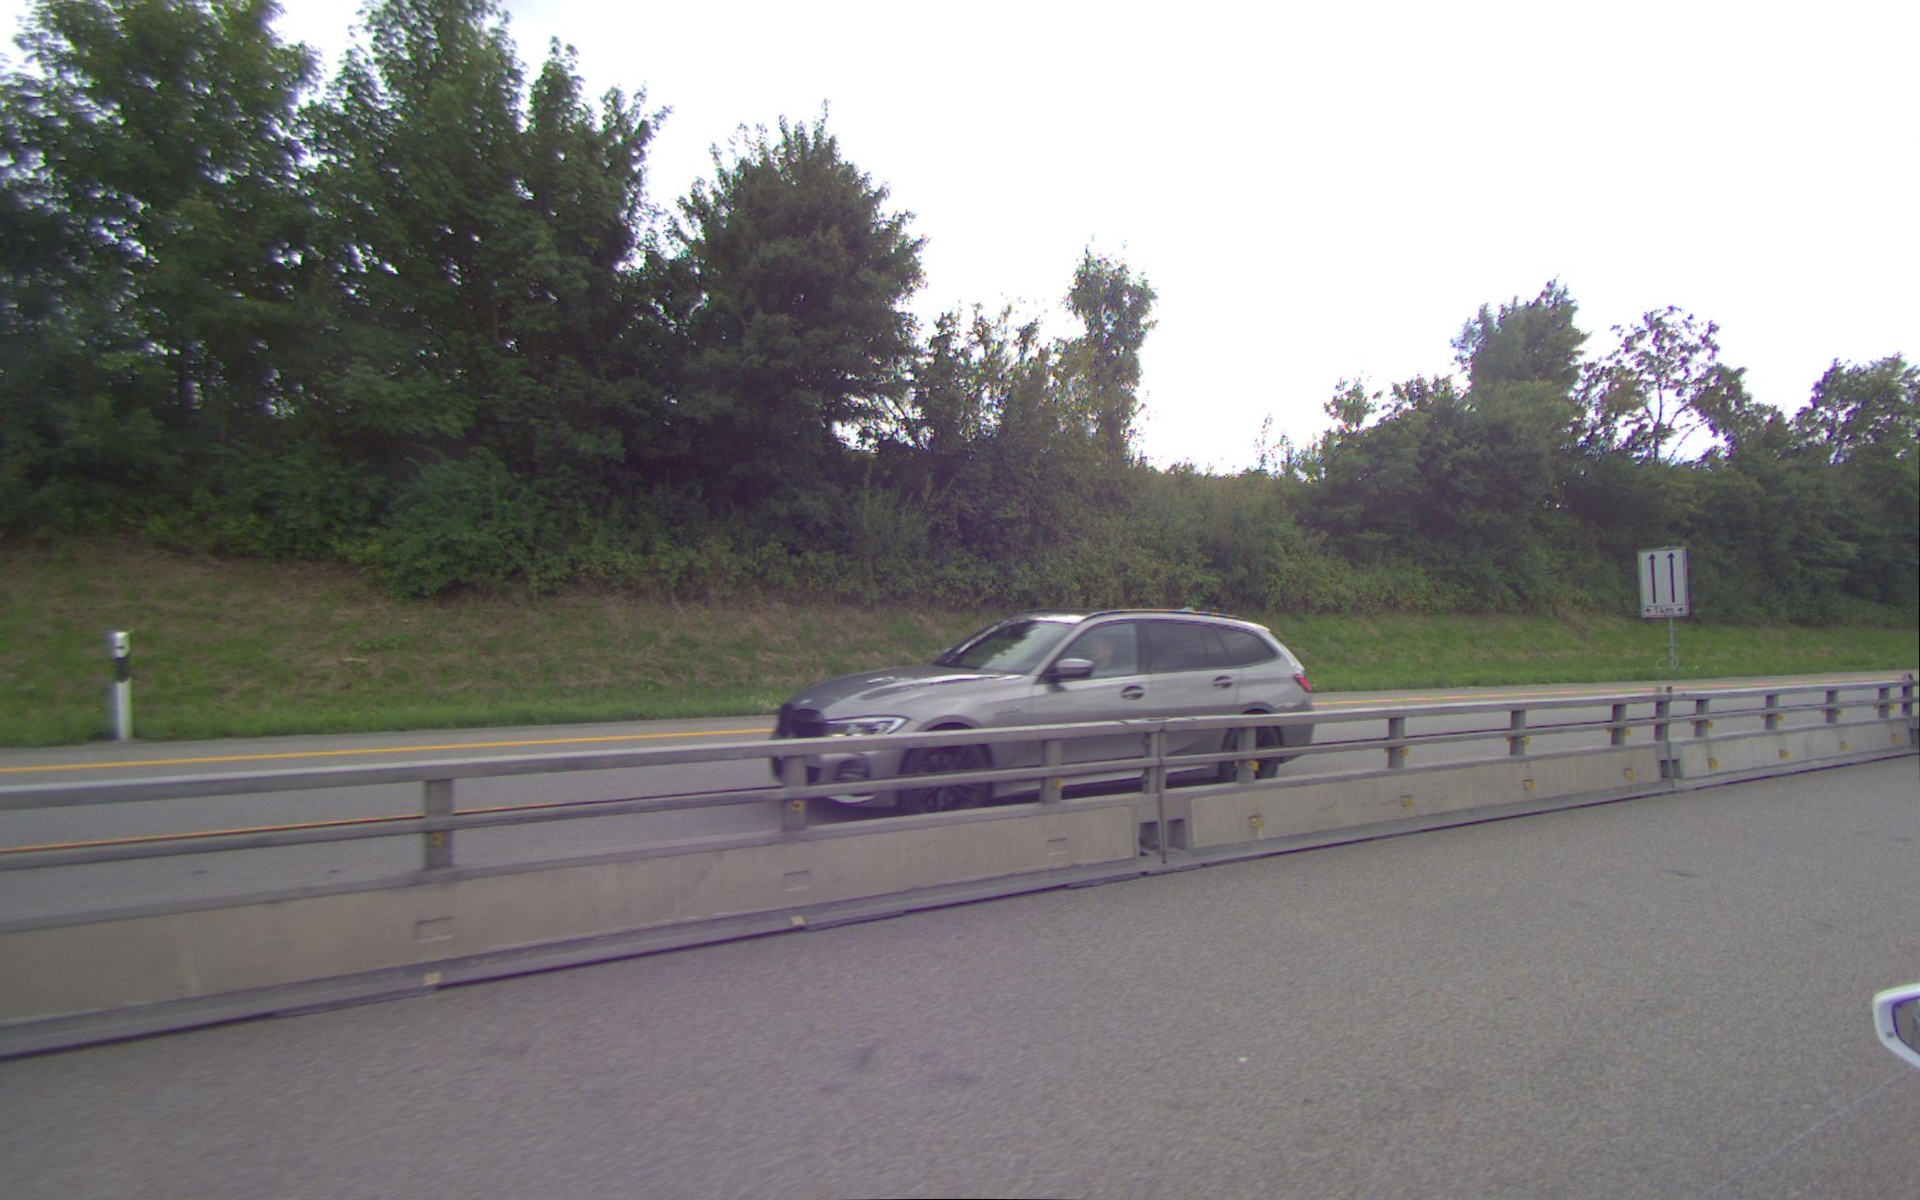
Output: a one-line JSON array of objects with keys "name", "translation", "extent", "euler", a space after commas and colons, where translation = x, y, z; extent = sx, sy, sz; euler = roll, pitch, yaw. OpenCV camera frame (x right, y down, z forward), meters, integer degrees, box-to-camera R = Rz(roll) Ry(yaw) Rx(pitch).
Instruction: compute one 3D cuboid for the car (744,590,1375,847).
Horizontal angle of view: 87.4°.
[{"name": "car", "translation": [0.935, 0.762, 8.160], "extent": [4.896, 1.541, 1.983], "euler": [1, 0, -31]}]
